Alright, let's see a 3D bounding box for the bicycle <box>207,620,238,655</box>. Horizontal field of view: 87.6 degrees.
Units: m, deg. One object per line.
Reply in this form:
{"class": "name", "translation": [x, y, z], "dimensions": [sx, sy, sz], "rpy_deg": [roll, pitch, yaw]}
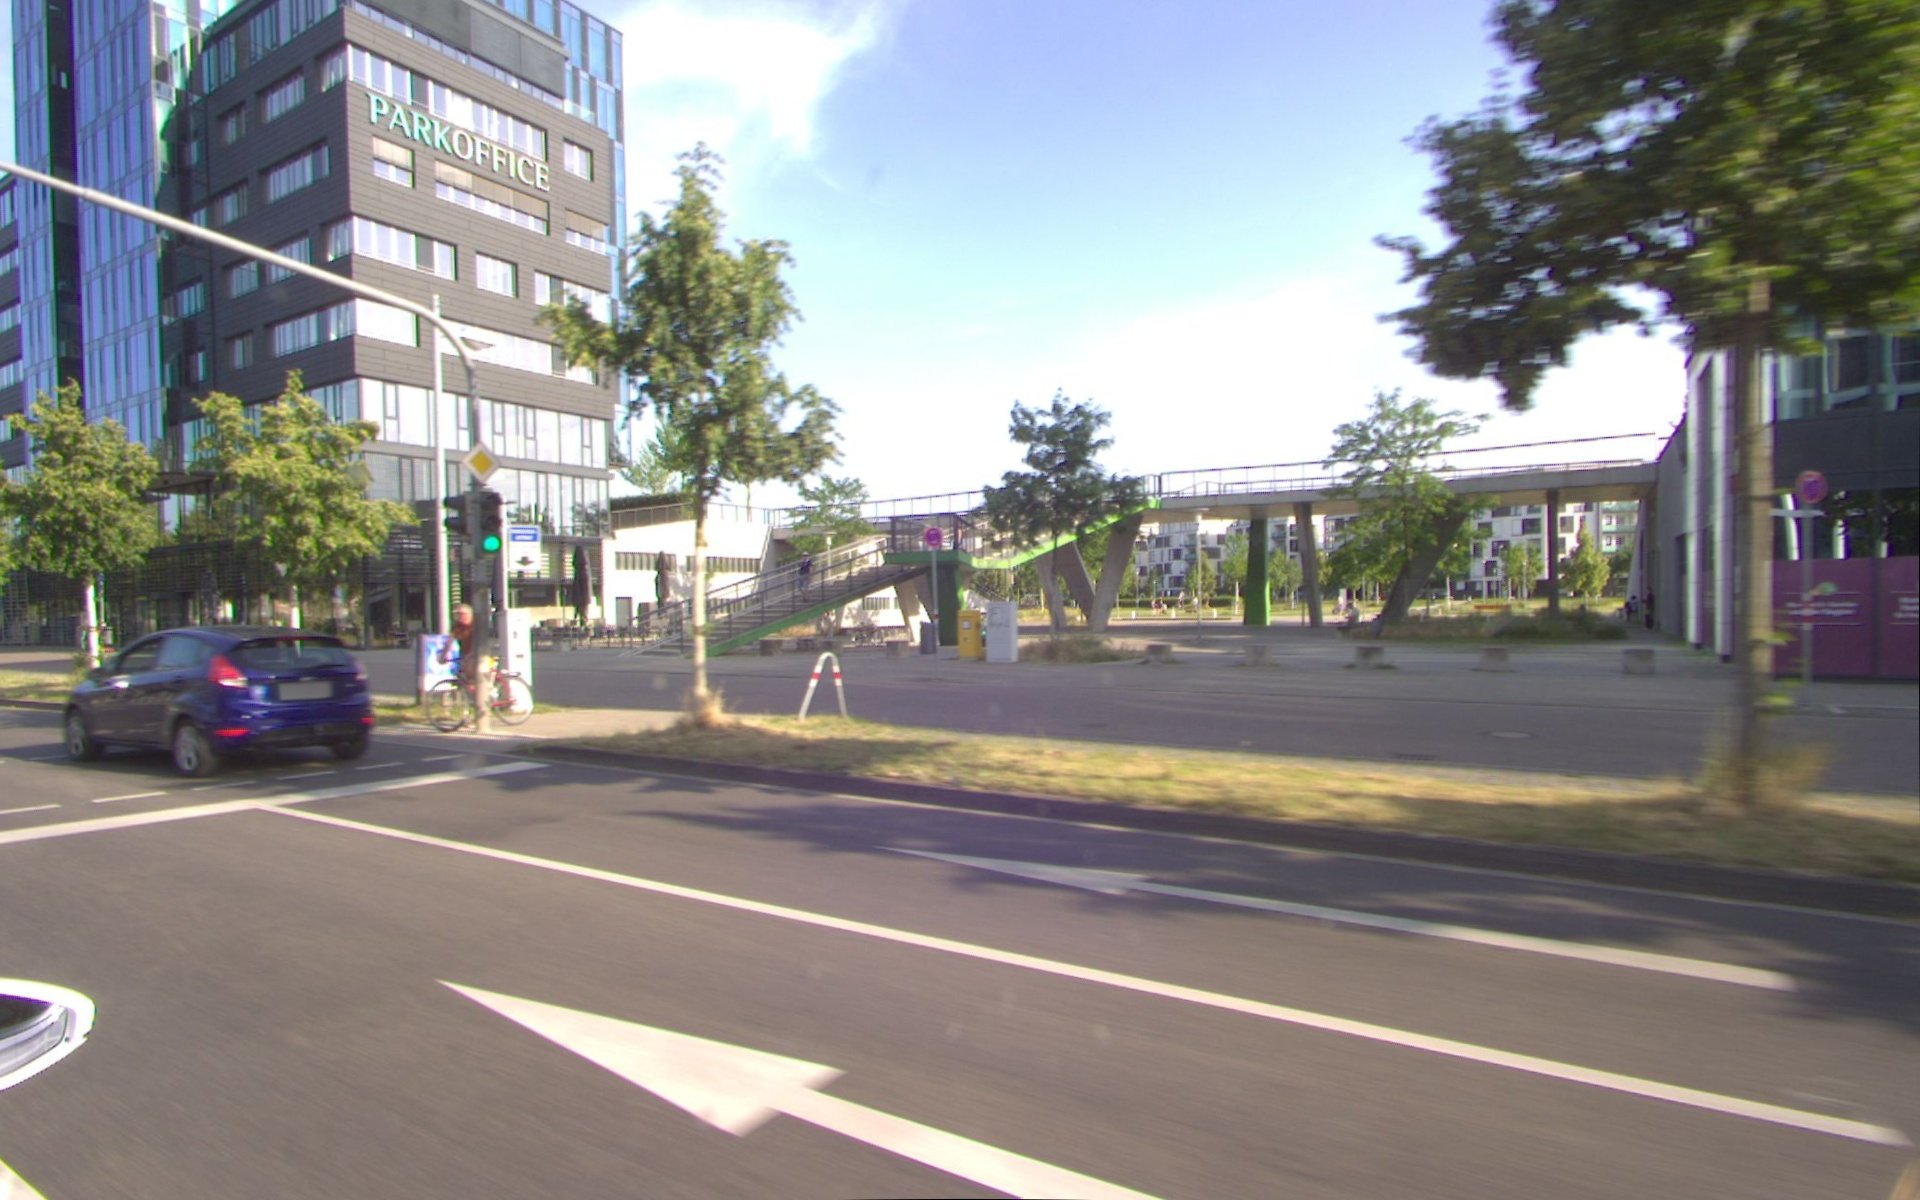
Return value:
{"class": "bicycle", "translation": [-29.428, 1.491, 39.959], "dimensions": [1.867, 1.363, 0.372], "rpy_deg": [-2, -2, 33]}

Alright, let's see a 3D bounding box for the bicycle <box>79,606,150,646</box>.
{"class": "bicycle", "translation": [-40.657, 1.270, 48.178], "dimensions": [0.563, 1.881, 2.552], "rpy_deg": [-1, -2, 41]}

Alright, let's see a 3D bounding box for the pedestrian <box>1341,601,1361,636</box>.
{"class": "pedestrian", "translation": [14.756, 0.720, 37.792], "dimensions": [0.573, 1.310, 0.595], "rpy_deg": [-1, -1, 32]}

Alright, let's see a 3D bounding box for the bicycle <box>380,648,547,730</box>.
{"class": "bicycle", "translation": [-6.835, 1.193, 13.924], "dimensions": [0.563, 1.025, 2.132], "rpy_deg": [-1, -2, 30]}

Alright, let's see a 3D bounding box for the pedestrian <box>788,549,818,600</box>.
{"class": "pedestrian", "translation": [-5.418, -0.857, 34.495], "dimensions": [0.689, 1.713, 0.779], "rpy_deg": [1, -1, -45]}

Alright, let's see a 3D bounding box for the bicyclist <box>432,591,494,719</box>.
{"class": "bicyclist", "translation": [-6.873, 0.756, 13.867], "dimensions": [0.533, 1.728, 0.574], "rpy_deg": [-1, -1, 30]}

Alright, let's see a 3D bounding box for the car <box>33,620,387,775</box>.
{"class": "car", "translation": [-8.232, 0.952, 10.947], "dimensions": [3.845, 1.442, 1.560], "rpy_deg": [0, -1, 27]}

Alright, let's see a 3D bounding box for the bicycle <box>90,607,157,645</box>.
{"class": "bicycle", "translation": [-39.759, 1.237, 47.623], "dimensions": [0.548, 1.768, 2.423], "rpy_deg": [-1, -2, 41]}
